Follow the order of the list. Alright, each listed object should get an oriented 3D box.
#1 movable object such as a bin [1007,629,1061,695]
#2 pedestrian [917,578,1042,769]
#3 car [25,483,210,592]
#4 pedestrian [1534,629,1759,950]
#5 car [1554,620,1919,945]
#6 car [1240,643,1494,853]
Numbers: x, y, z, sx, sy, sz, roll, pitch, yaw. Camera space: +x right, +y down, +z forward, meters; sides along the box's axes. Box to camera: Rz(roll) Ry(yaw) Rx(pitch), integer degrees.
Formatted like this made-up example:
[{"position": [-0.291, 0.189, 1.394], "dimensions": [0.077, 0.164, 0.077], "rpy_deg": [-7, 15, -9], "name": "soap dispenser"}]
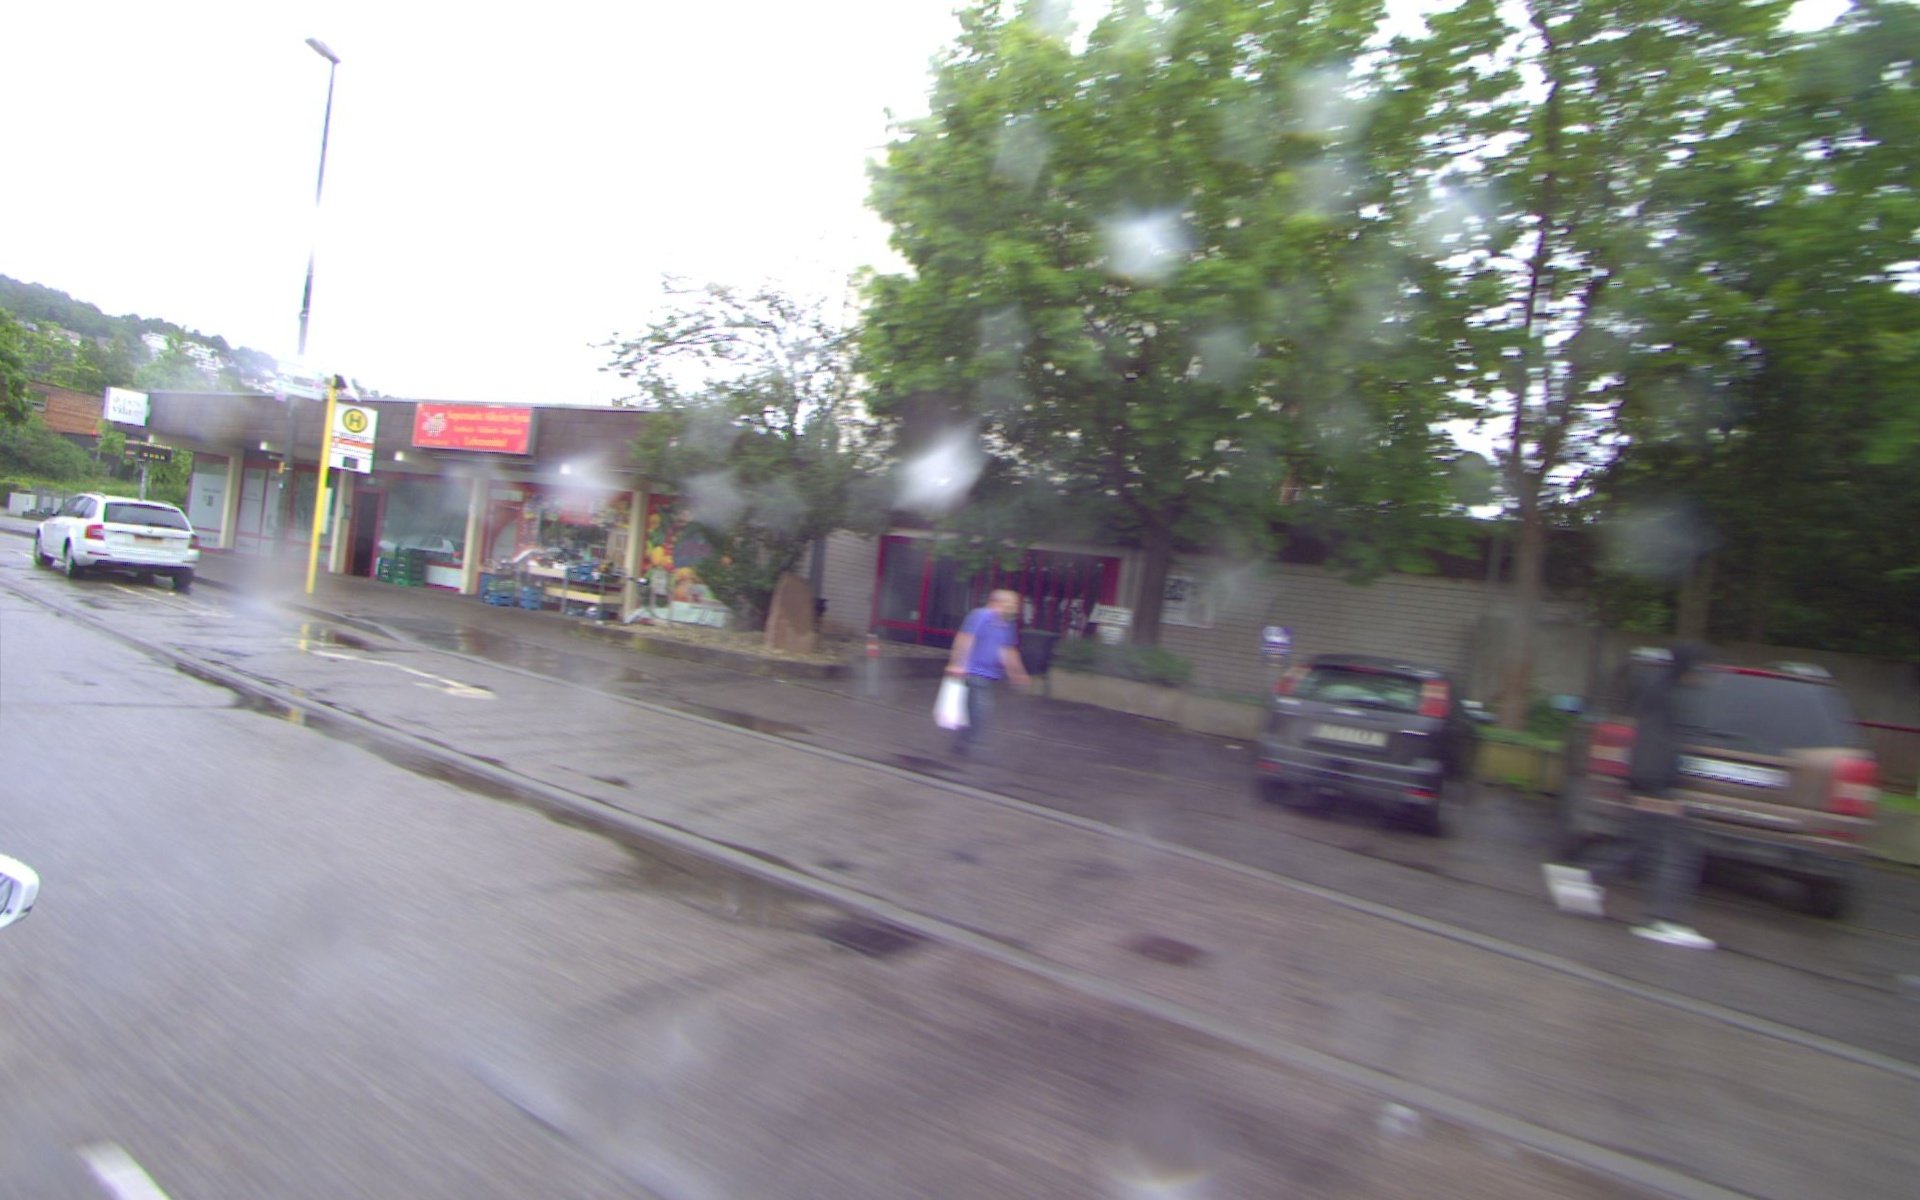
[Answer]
[{"position": [1.309, 1.084, 17.750], "dimensions": [0.630, 1.069, 0.645], "rpy_deg": [8, 1, 26], "name": "movable object such as a bin"}, {"position": [0.206, 0.721, 10.155], "dimensions": [0.747, 1.759, 0.876], "rpy_deg": [8, 2, 29], "name": "pedestrian"}, {"position": [-15.442, -1.186, 18.360], "dimensions": [4.414, 1.517, 1.728], "rpy_deg": [8, 2, 39], "name": "car"}, {"position": [4.297, 1.142, 6.358], "dimensions": [0.781, 1.844, 0.710], "rpy_deg": [5, 0, 1], "name": "pedestrian"}, {"position": [6.360, 1.315, 8.690], "dimensions": [1.845, 1.894, 4.098], "rpy_deg": [7, 0, 32], "name": "car"}, {"position": [4.320, 1.325, 10.261], "dimensions": [1.772, 1.472, 4.154], "rpy_deg": [7, 0, 29], "name": "car"}]
